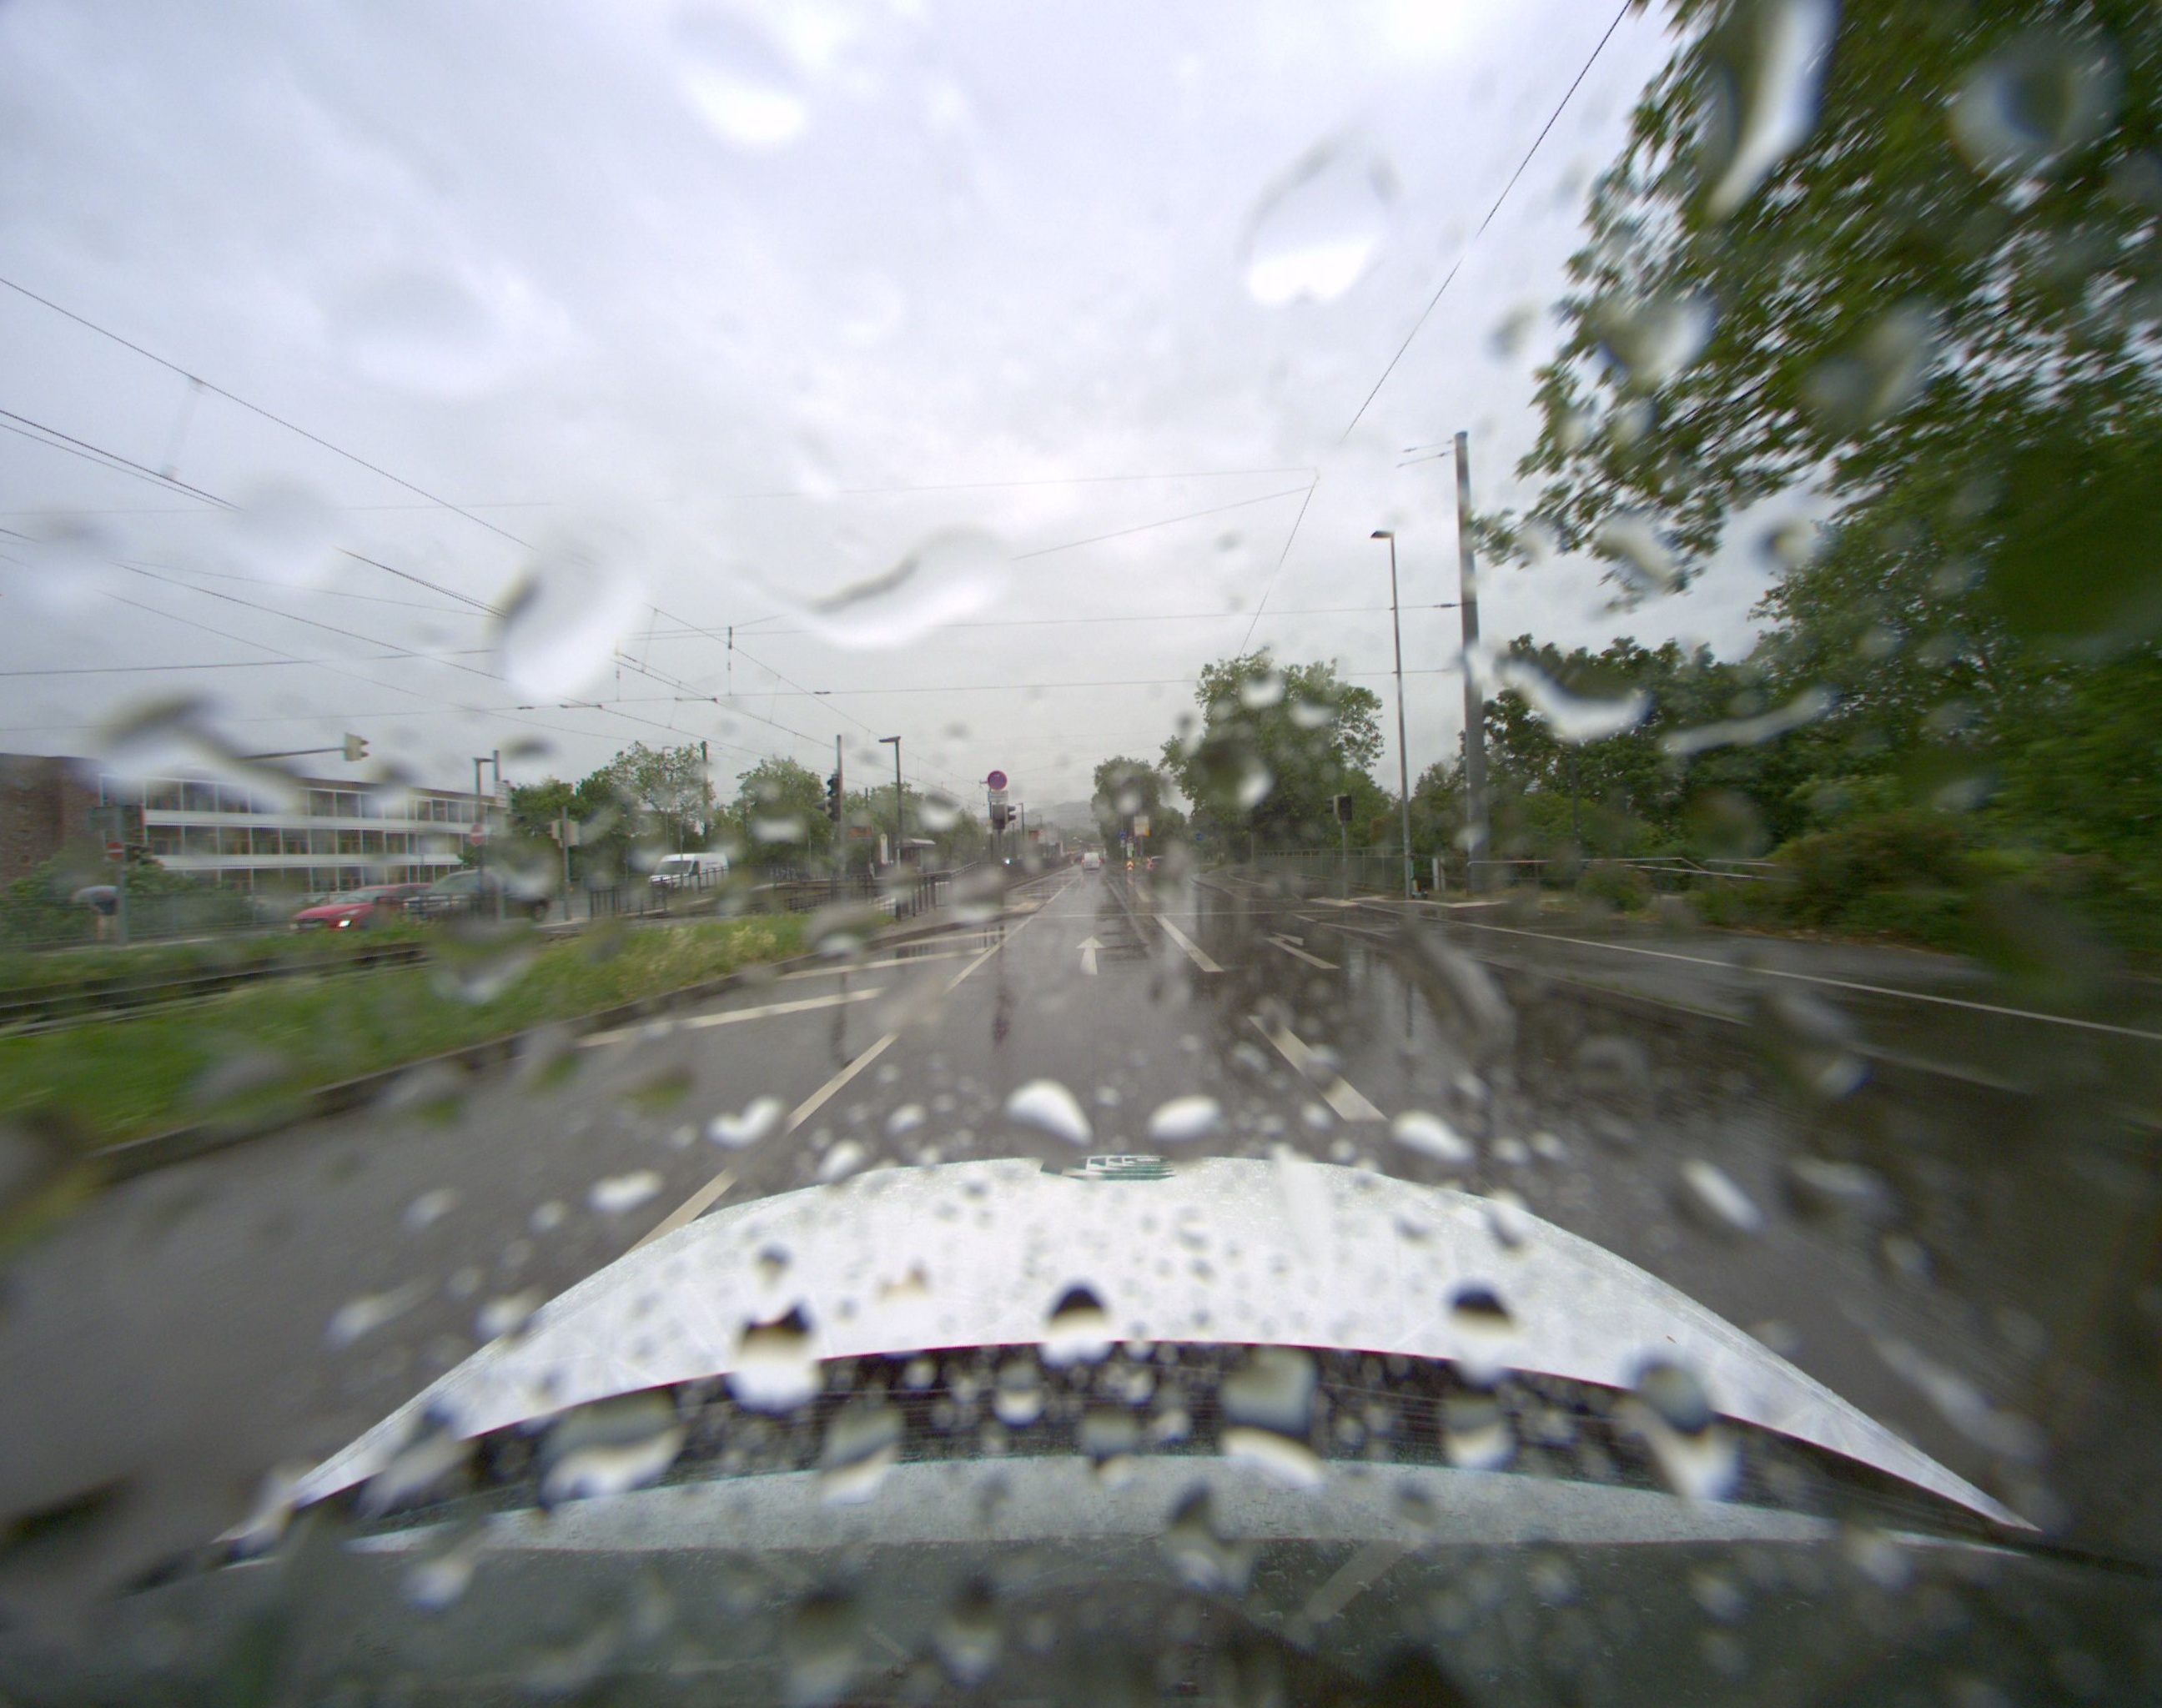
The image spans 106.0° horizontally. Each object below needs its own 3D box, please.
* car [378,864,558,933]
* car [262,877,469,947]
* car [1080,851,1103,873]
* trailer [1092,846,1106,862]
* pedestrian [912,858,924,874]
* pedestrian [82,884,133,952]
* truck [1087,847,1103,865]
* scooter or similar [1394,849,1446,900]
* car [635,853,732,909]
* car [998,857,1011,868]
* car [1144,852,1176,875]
[{"bbox_3d":[-17.889,1.228,24.065,1.986,1.772,4.259,-1,0,1],"label":"car"},{"bbox_3d":[-21.135,1.641,24.376,1.986,1.707,4.626,-1,0,2],"label":"car"},{"bbox_3d":[0.947,0.727,74.891,1.988,1.849,3.998,-2,0,-1],"label":"car"},{"bbox_3d":[3.252,0.060,147.039,2.157,2.757,5.681,-1,-1,3],"label":"trailer"},{"bbox_3d":[-14.190,1.038,71.091,0.828,1.316,0.858,-1,0,1],"label":"pedestrian"},{"bbox_3d":[-29.771,1.948,24.914,0.696,2.013,0.697,-2,0,2],"label":"pedestrian"},{"bbox_3d":[2.996,0.432,178.119,2.769,3.704,9.842,-1,-1,-3],"label":"truck"},{"bbox_3d":[8.951,0.525,21.585,0.756,1.293,1.648,-1,-1,4],"label":"scooter or similar"},{"bbox_3d":[-20.803,1.330,42.991,2.112,2.712,5.740,-1,0,2],"label":"car"},{"bbox_3d":[-15.258,1.664,162.019,1.986,2.014,4.002,-1,-1,2],"label":"car"},{"bbox_3d":[5.422,0.610,55.326,1.877,1.431,4.010,-2,0,9],"label":"car"}]
